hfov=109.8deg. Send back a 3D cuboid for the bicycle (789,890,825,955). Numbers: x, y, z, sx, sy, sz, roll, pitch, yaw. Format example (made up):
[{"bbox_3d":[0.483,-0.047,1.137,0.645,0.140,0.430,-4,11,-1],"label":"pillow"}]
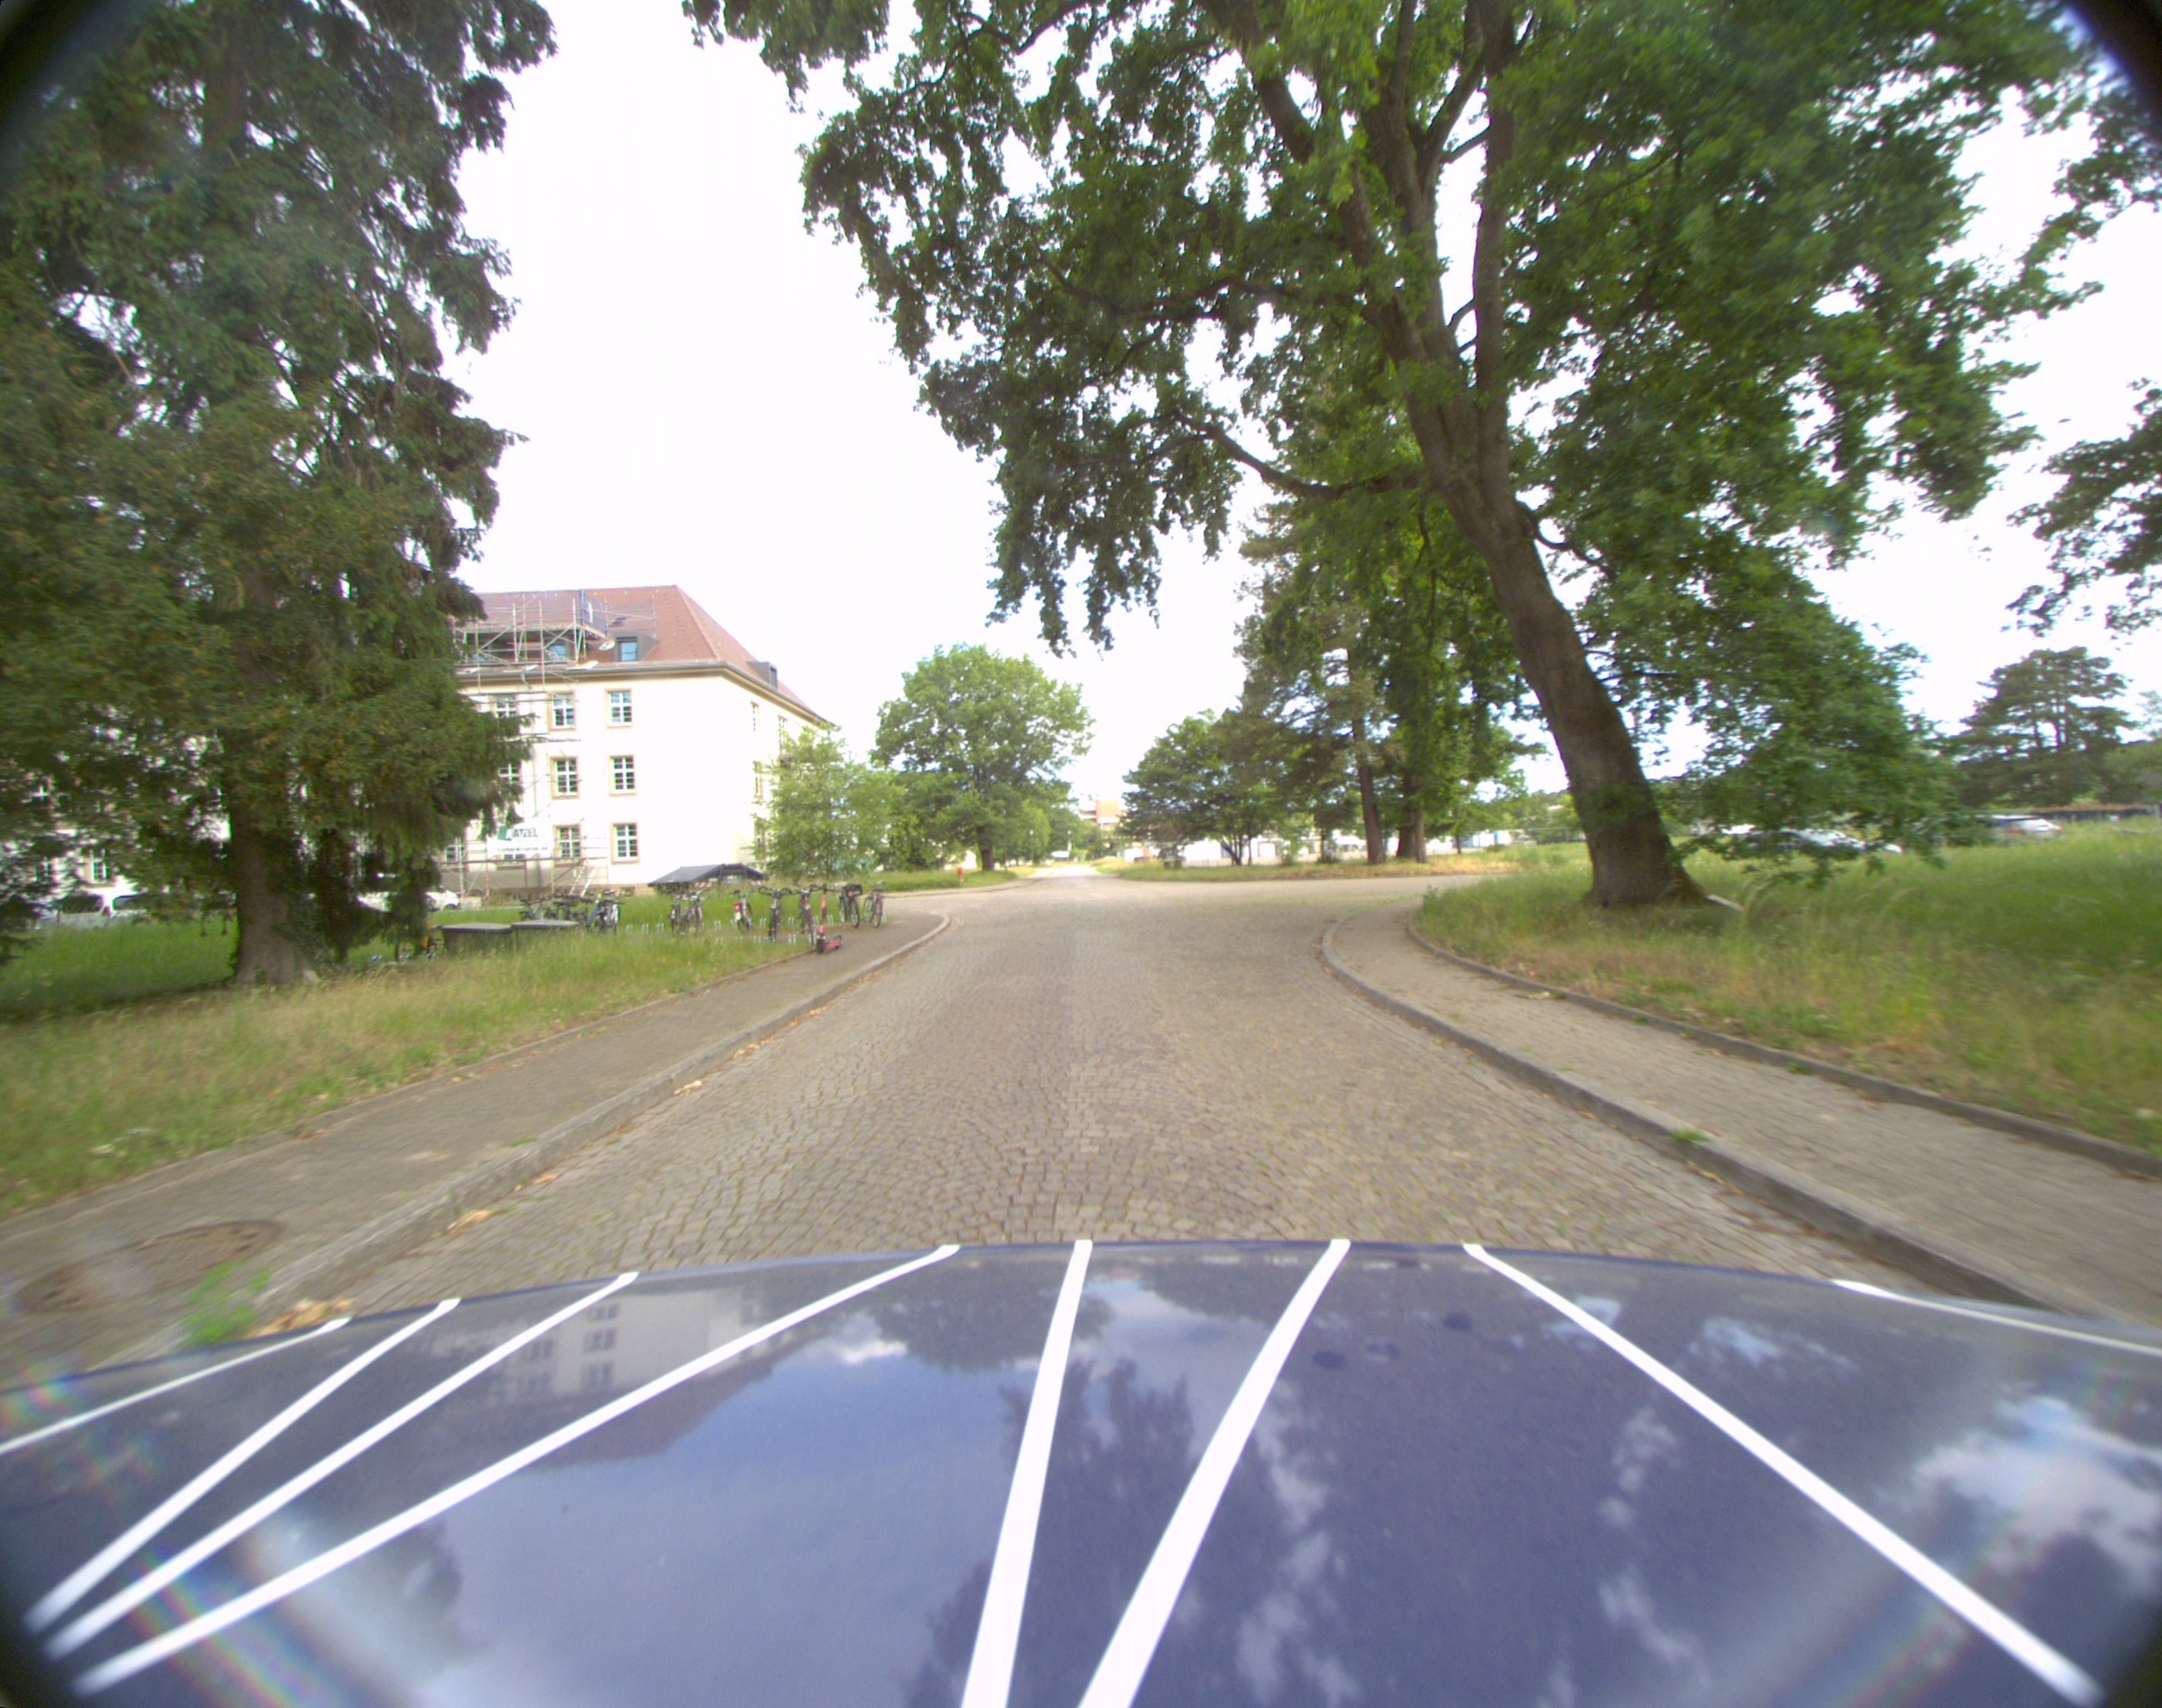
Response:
[{"bbox_3d":[-5.367,1.303,14.922,0.552,1.108,1.767,-3,0,-18],"label":"bicycle"}]

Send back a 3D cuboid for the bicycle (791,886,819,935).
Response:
[{"bbox_3d":[-6.619,1.336,18.252,0.478,1.002,1.665,-3,2,-16],"label":"bicycle"}]

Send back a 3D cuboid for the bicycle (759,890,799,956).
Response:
[{"bbox_3d":[-5.819,1.299,14.713,0.552,1.108,1.802,-3,0,-18],"label":"bicycle"}]

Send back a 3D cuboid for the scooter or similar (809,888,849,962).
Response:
[{"bbox_3d":[-4.522,1.255,13.696,0.357,1.202,1.137,-3,0,-4],"label":"scooter or similar"}]

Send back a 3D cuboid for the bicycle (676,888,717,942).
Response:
[{"bbox_3d":[-8.857,1.371,17.566,0.478,1.105,1.763,-3,0,-16],"label":"bicycle"}]

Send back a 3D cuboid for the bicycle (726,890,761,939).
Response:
[{"bbox_3d":[-8.000,1.412,18.047,0.478,1.002,1.665,-3,2,-16],"label":"bicycle"}]

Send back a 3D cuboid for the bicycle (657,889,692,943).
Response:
[{"bbox_3d":[-9.392,1.401,17.604,0.478,1.105,1.762,-3,0,-22],"label":"bicycle"}]

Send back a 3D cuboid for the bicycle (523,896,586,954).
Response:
[{"bbox_3d":[-11.512,1.518,16.661,0.442,1.105,1.650,-3,0,-11],"label":"bicycle"}]

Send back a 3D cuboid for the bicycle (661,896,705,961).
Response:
[{"bbox_3d":[-7.470,1.366,14.307,0.619,1.059,1.822,-3,0,-26],"label":"bicycle"}]

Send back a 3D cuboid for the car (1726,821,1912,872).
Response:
[{"bbox_3d":[23.266,-0.185,24.234,1.762,1.396,4.356,-3,-1,2],"label":"car"}]

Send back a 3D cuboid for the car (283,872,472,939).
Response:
[{"bbox_3d":[-25.463,1.782,27.862,1.967,1.985,5.276,-3,0,-1],"label":"car"}]

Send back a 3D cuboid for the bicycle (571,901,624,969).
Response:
[{"bbox_3d":[-8.760,1.434,13.813,0.552,1.059,1.751,-3,0,-26],"label":"bicycle"}]

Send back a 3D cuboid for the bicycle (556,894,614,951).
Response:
[{"bbox_3d":[-11.023,1.493,16.932,0.442,1.105,1.650,-3,0,-11],"label":"bicycle"}]

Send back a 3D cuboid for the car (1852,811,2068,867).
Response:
[{"bbox_3d":[27.995,-0.401,24.456,1.763,1.552,4.366,-3,-1,-1],"label":"car"}]

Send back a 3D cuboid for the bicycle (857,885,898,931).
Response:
[{"bbox_3d":[-5.040,1.316,18.761,0.478,1.002,1.618,-4,2,-31],"label":"bicycle"}]

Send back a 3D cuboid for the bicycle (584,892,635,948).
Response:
[{"bbox_3d":[-10.629,1.467,17.167,0.478,1.105,1.763,-3,0,-16],"label":"bicycle"}]

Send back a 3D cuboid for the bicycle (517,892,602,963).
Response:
[{"bbox_3d":[-9.854,1.358,14.430,0.551,1.164,1.753,-3,0,-8],"label":"bicycle"}]

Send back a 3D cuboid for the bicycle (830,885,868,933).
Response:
[{"bbox_3d":[-5.749,1.332,18.782,0.478,1.068,1.618,-4,2,-31],"label":"bicycle"}]

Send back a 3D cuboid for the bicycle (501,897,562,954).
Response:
[{"bbox_3d":[-12.112,1.547,16.803,0.478,1.105,1.763,-3,0,-16],"label":"bicycle"}]

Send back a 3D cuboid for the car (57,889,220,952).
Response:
[{"bbox_3d":[-32.932,2.277,26.690,1.603,1.833,3.249,-3,0,-1],"label":"car"}]

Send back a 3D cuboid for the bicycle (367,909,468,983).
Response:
[{"bbox_3d":[-11.288,1.529,12.989,0.552,1.036,1.681,-3,0,-14],"label":"bicycle"}]

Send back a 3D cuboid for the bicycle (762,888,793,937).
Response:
[{"bbox_3d":[-7.230,1.369,18.137,0.478,1.002,1.665,-3,2,-16],"label":"bicycle"}]
